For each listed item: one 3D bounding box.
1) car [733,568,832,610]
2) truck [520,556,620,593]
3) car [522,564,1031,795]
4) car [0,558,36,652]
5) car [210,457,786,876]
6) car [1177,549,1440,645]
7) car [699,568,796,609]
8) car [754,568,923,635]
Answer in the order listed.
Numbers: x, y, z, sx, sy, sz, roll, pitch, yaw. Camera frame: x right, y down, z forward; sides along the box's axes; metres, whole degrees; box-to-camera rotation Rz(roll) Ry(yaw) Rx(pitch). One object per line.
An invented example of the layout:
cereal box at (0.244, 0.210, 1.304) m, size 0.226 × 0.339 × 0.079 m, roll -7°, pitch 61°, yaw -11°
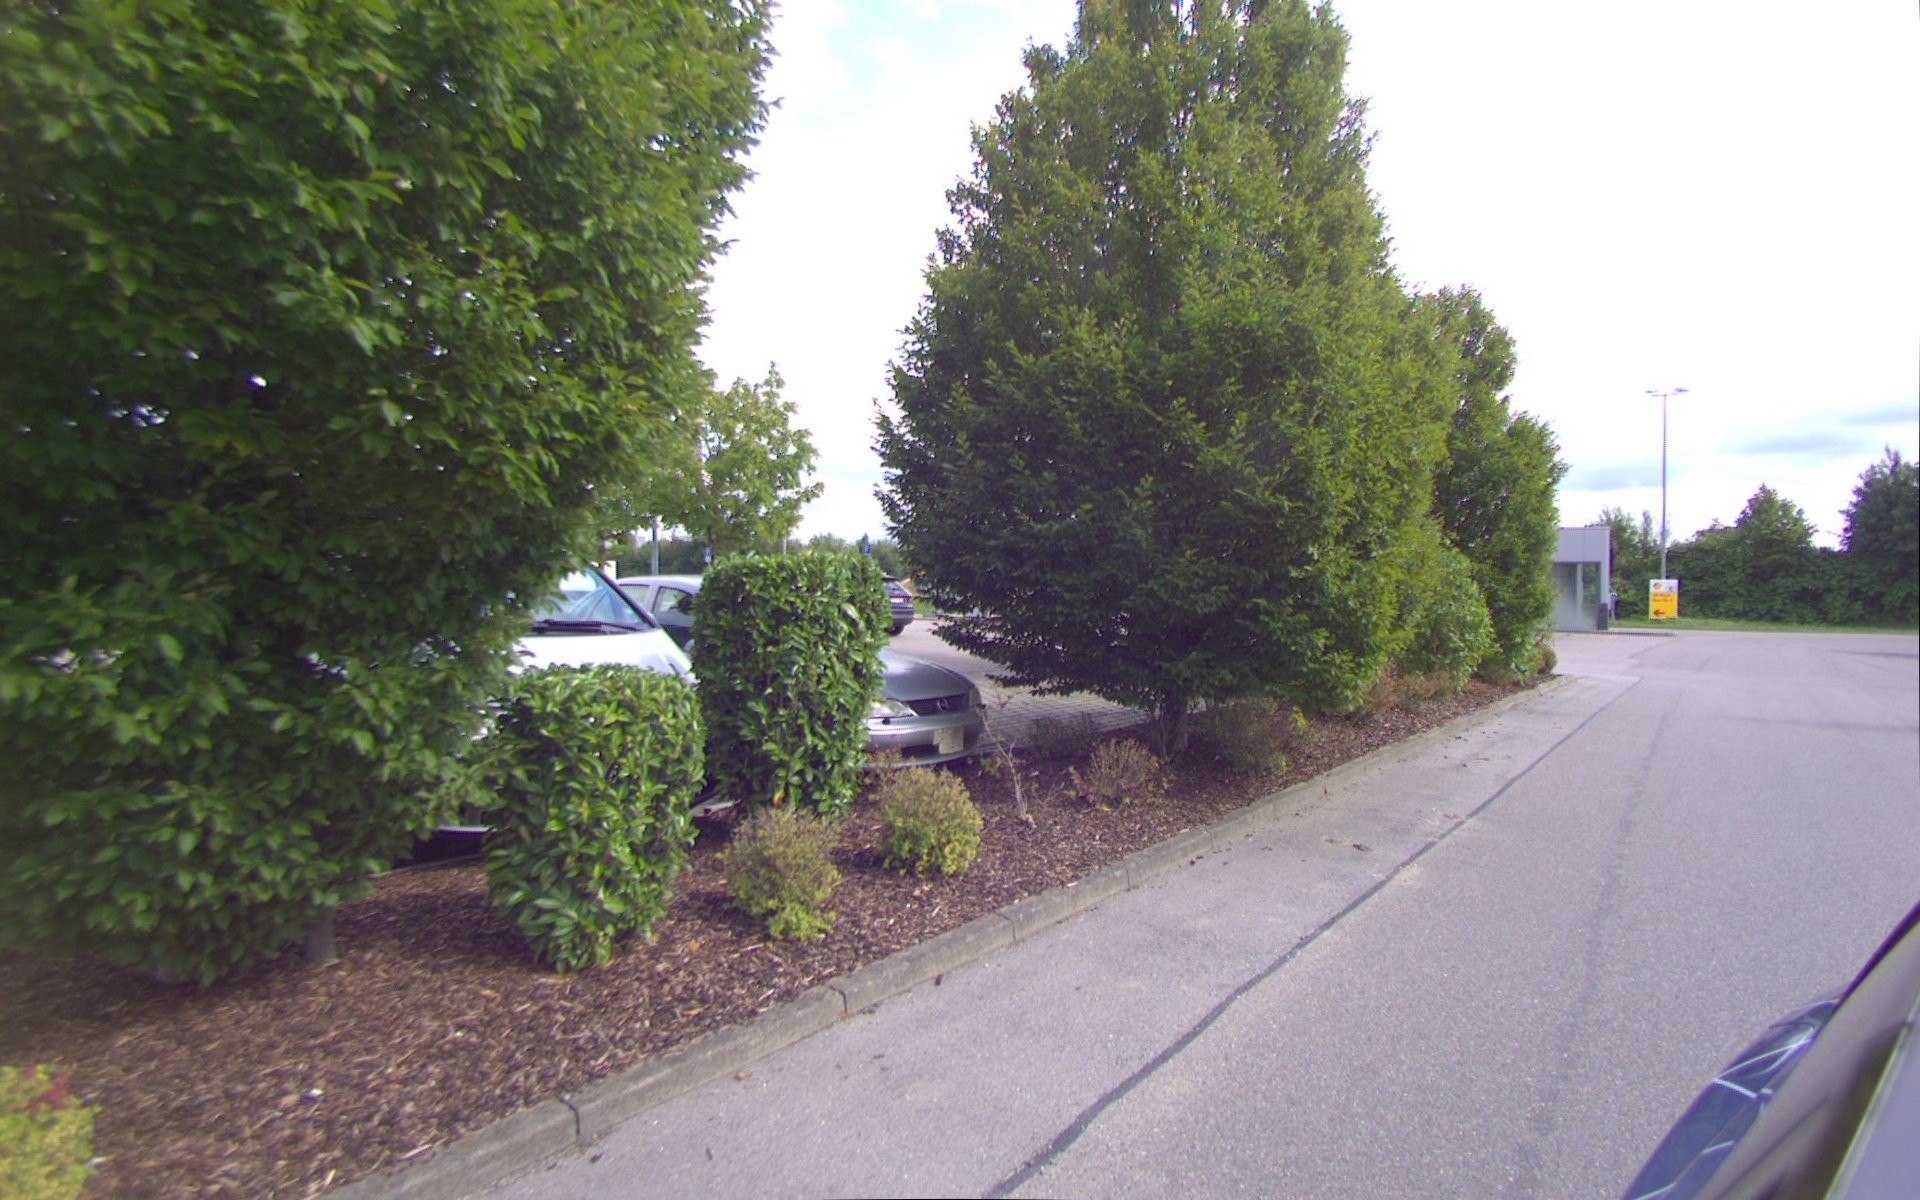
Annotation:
car at (-7.741, -0.459, 44.399) m, size 1.992 × 1.772 × 3.940 m, roll 0°, pitch 0°, yaw 41°
truck at (-34.131, -2.175, 88.921) m, size 2.572 × 3.075 × 8.231 m, roll 0°, pitch 0°, yaw 34°
car at (-1.567, 0.447, 7.883) m, size 3.978 × 1.367 × 1.702 m, roll 1°, pitch 0°, yaw 38°
car at (-16.642, 0.052, 16.520) m, size 4.255 × 1.446 × 1.697 m, roll 1°, pitch 0°, yaw 39°
car at (-3.095, 0.250, 6.270) m, size 4.346 × 1.738 × 1.632 m, roll 1°, pitch 0°, yaw 42°
car at (5.852, -0.102, 17.255) m, size 3.869 × 1.453 × 1.699 m, roll 2°, pitch 1°, yaw 43°
car at (-9.610, -0.484, 45.917) m, size 1.992 × 1.772 × 3.940 m, roll 0°, pitch 0°, yaw 41°
car at (-3.260, 0.010, 26.806) m, size 4.228 × 1.638 × 1.975 m, roll 1°, pitch 0°, yaw 35°
